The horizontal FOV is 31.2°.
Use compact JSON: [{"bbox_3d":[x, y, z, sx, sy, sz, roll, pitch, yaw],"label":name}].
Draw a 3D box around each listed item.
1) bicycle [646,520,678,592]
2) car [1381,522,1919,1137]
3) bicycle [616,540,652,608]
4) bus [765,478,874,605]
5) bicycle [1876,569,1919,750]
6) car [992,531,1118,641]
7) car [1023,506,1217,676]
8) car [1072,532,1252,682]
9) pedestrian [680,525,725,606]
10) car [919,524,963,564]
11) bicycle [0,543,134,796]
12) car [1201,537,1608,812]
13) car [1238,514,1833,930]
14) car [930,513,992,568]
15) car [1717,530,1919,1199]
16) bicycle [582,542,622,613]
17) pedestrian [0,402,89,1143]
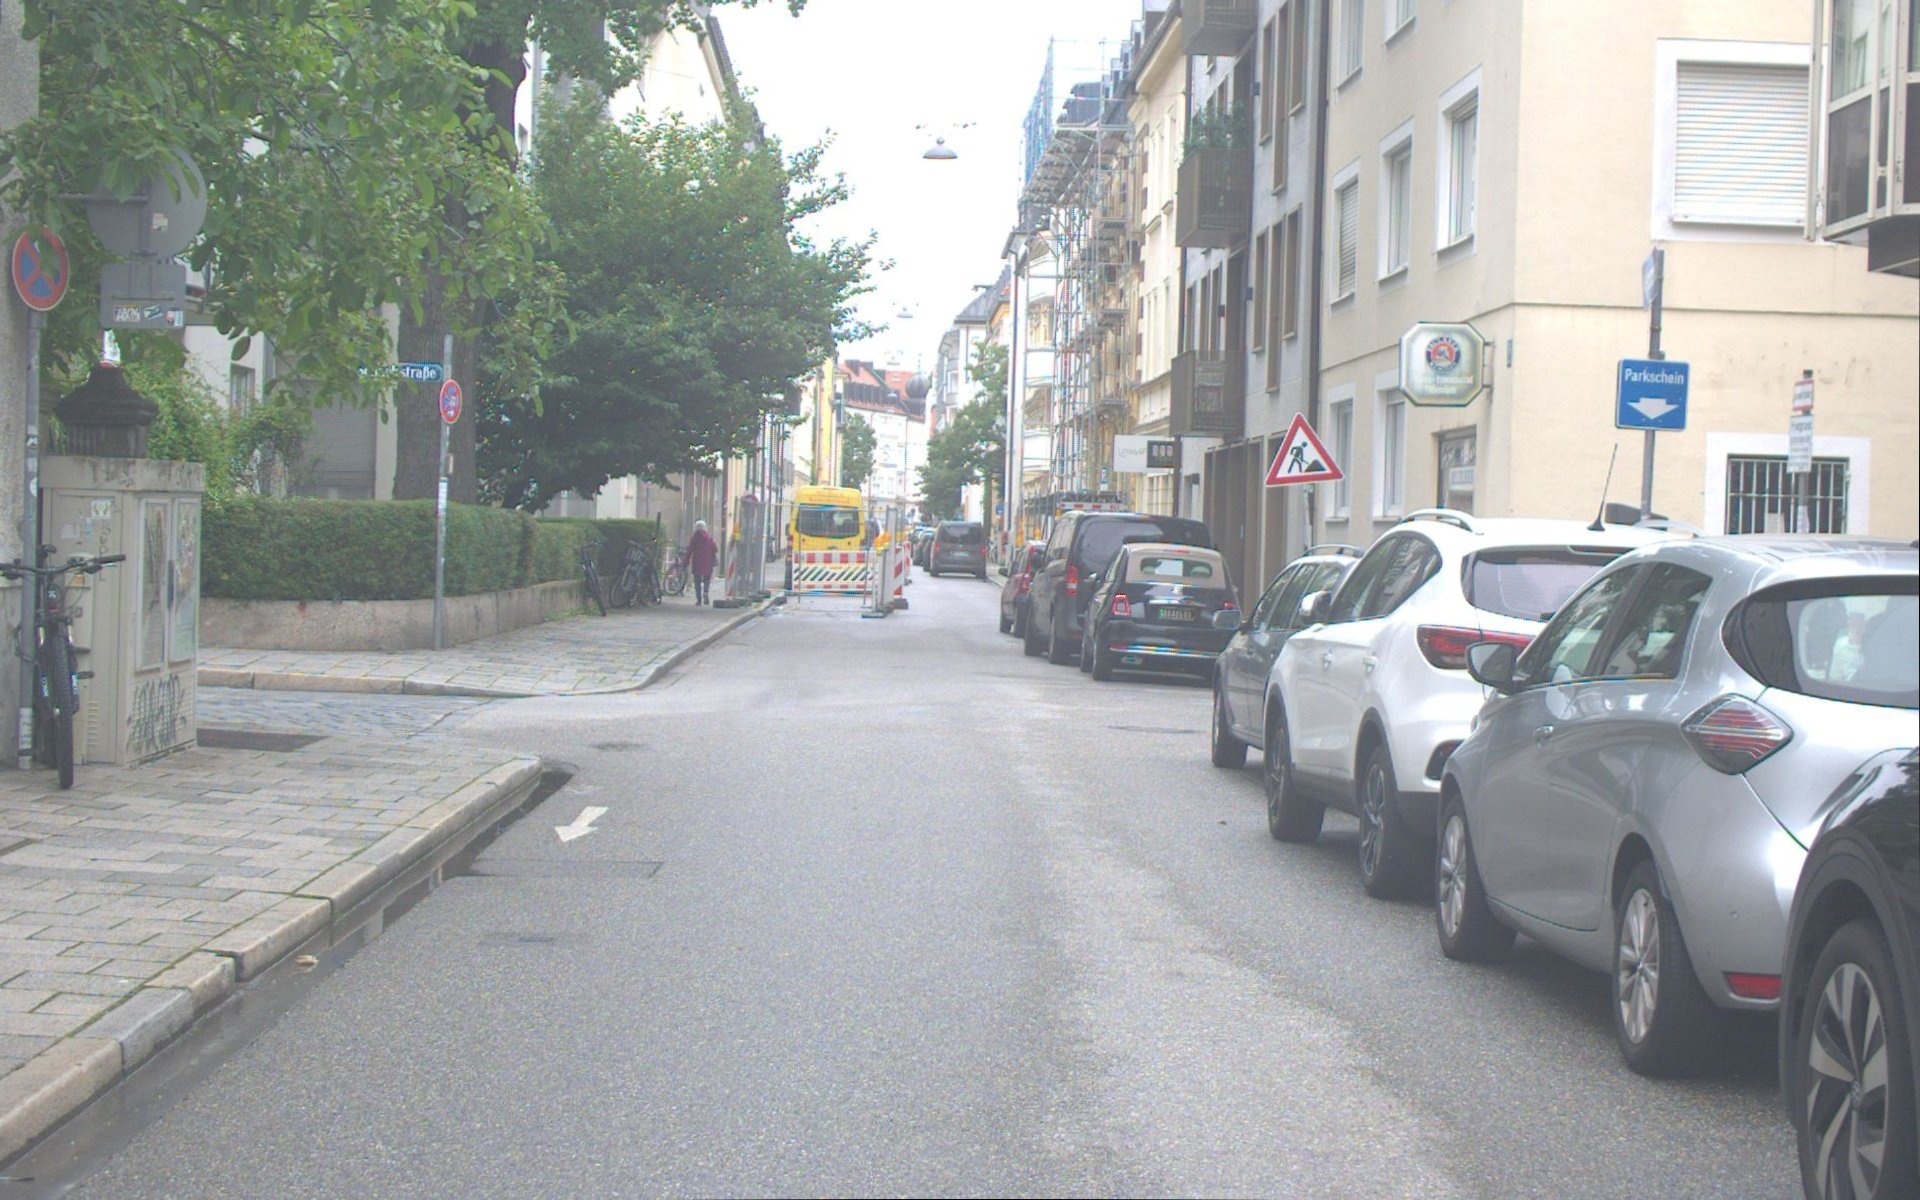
[{"bbox_3d":[-5.940,-0.874,68.597,0.514,1.413,1.934,1,1,-2],"label":"bicycle"},{"bbox_3d":[2.619,0.597,11.131,1.720,1.630,3.882,1,1,-4],"label":"car"},{"bbox_3d":[-5.283,-0.434,55.805,0.446,1.069,2.468,1,1,-3],"label":"bicycle"},{"bbox_3d":[-3.536,-1.480,87.692,2.592,3.091,6.306,1,1,-1],"label":"bus"},{"bbox_3d":[6.564,0.411,21.913,0.378,1.155,1.553,2,1,-30],"label":"bicycle"},{"bbox_3d":[1.457,-0.246,54.020,1.635,1.509,3.829,5,1,-2],"label":"car"},{"bbox_3d":[1.906,-0.153,42.141,1.801,1.814,4.001,5,1,-4],"label":"car"},{"bbox_3d":[2.173,0.036,37.787,1.624,1.482,3.809,3,1,-1],"label":"car"},{"bbox_3d":[-4.768,-0.640,63.632,0.756,1.486,0.831,1,1,-1],"label":"pedestrian"},{"bbox_3d":[-0.829,-2.417,148.186,1.801,1.608,4.000,2,1,-1],"label":"car"},{"bbox_3d":[-4.282,0.305,16.401,0.473,1.107,1.761,2,1,-19],"label":"bicycle"},{"bbox_3d":[2.593,0.376,20.961,1.744,1.440,4.001,2,1,-3],"label":"car"},{"bbox_3d":[2.468,0.444,15.805,1.748,1.624,4.197,1,1,-4],"label":"car"},{"bbox_3d":[0.010,-2.087,119.833,1.801,1.706,3.827,5,1,-3],"label":"car"},{"bbox_3d":[2.822,0.703,5.671,1.885,1.550,4.392,2,1,-3],"label":"car"},{"bbox_3d":[-5.229,-0.338,50.268,0.414,1.017,1.854,1,1,-2],"label":"bicycle"},{"bbox_3d":[-2.480,0.374,7.675,0.753,1.653,0.906,4,0,-1],"label":"pedestrian"}]
